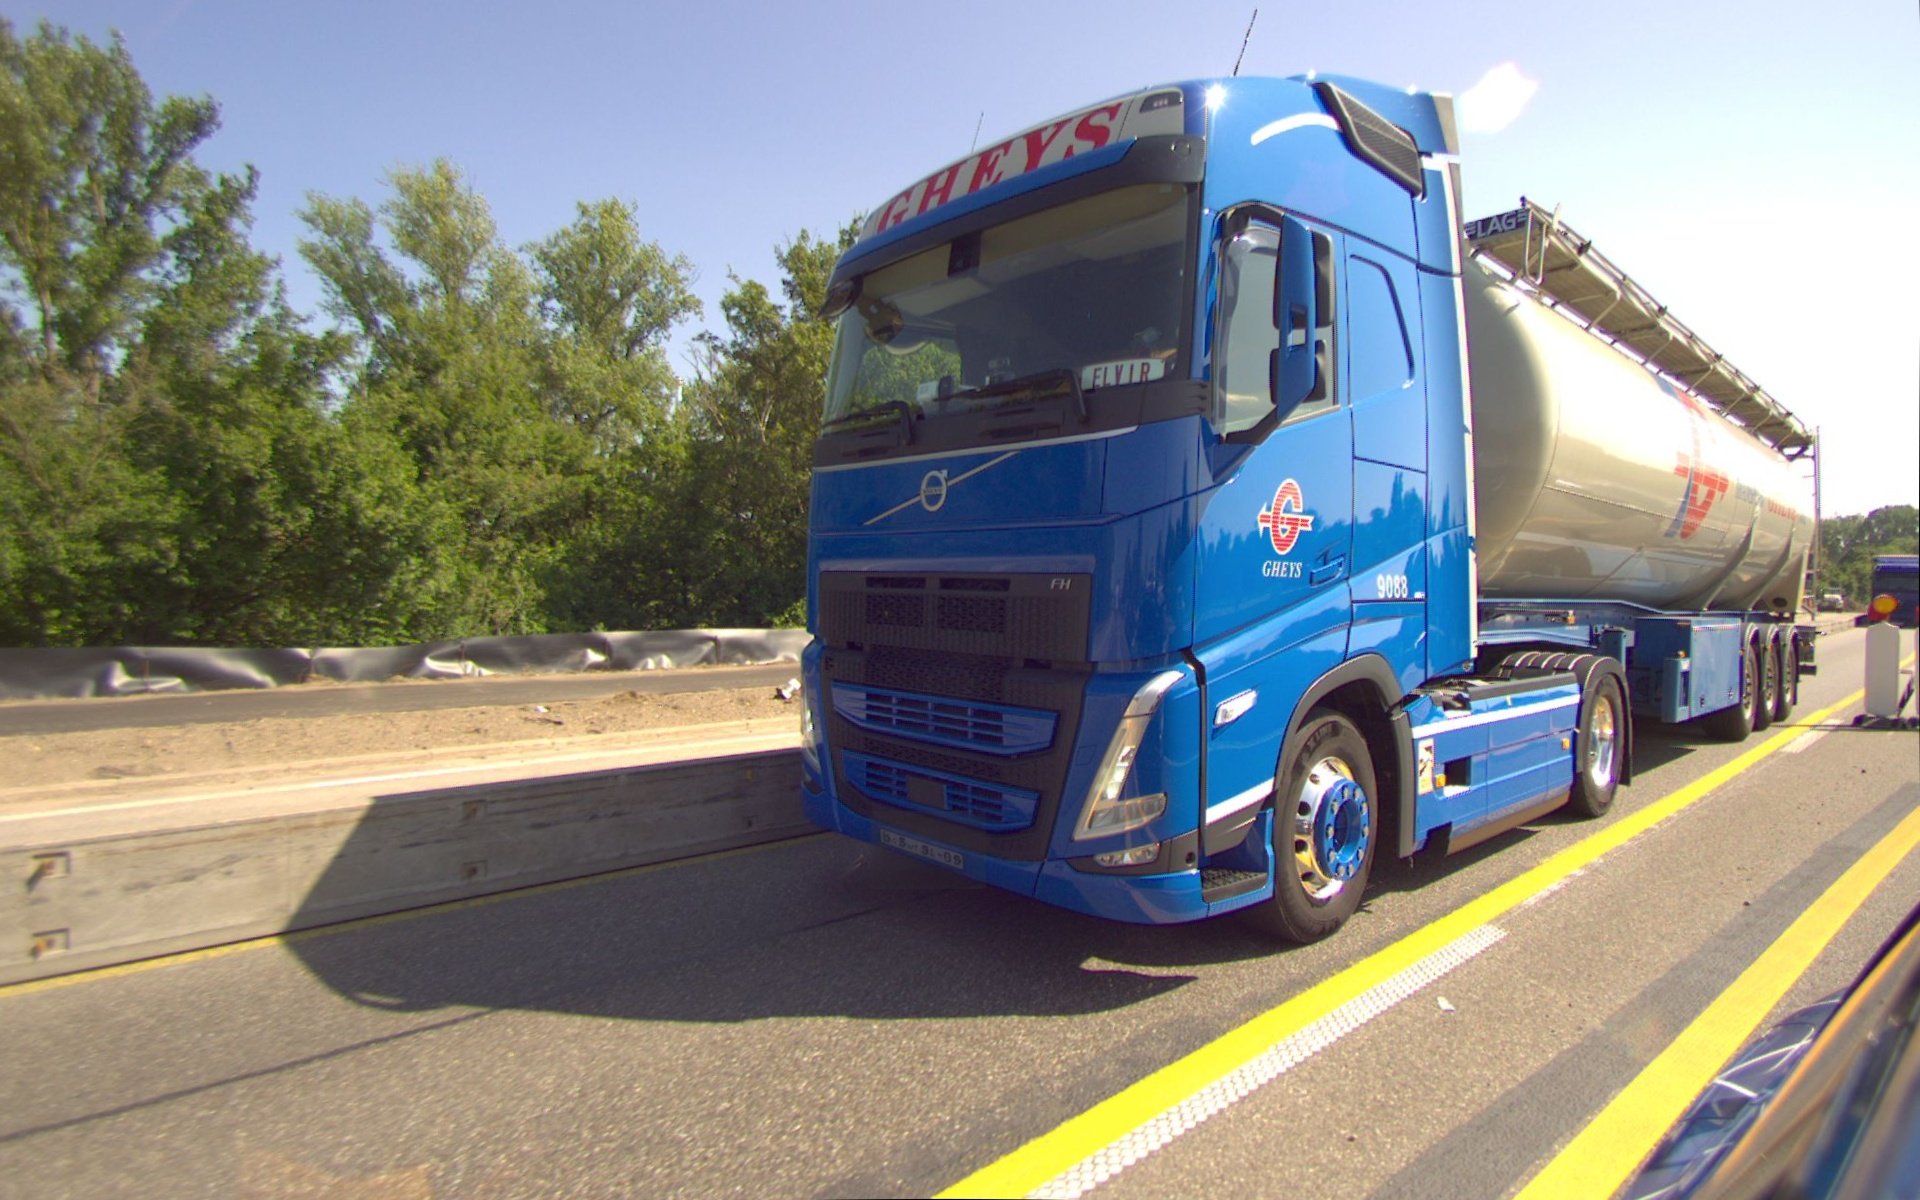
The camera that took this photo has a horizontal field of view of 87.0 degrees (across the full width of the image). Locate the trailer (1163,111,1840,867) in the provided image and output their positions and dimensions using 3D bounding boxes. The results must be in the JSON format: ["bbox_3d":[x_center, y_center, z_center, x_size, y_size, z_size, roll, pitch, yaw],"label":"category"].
[{"bbox_3d":[6.960,-0.690,10.947,12.407,4.187,2.697,0,3,-44],"label":"trailer"}]

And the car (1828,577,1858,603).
[{"bbox_3d":[94.804,-1.087,108.670,2.102,2.674,5.899,4,3,39],"label":"car"}]

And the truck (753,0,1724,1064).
[{"bbox_3d":[2.517,-0.685,6.634,7.179,4.152,2.698,0,3,-44],"label":"truck"}]

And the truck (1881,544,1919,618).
[{"bbox_3d":[55.430,-1.057,58.568,2.854,4.033,8.531,4,3,43],"label":"truck"}]
